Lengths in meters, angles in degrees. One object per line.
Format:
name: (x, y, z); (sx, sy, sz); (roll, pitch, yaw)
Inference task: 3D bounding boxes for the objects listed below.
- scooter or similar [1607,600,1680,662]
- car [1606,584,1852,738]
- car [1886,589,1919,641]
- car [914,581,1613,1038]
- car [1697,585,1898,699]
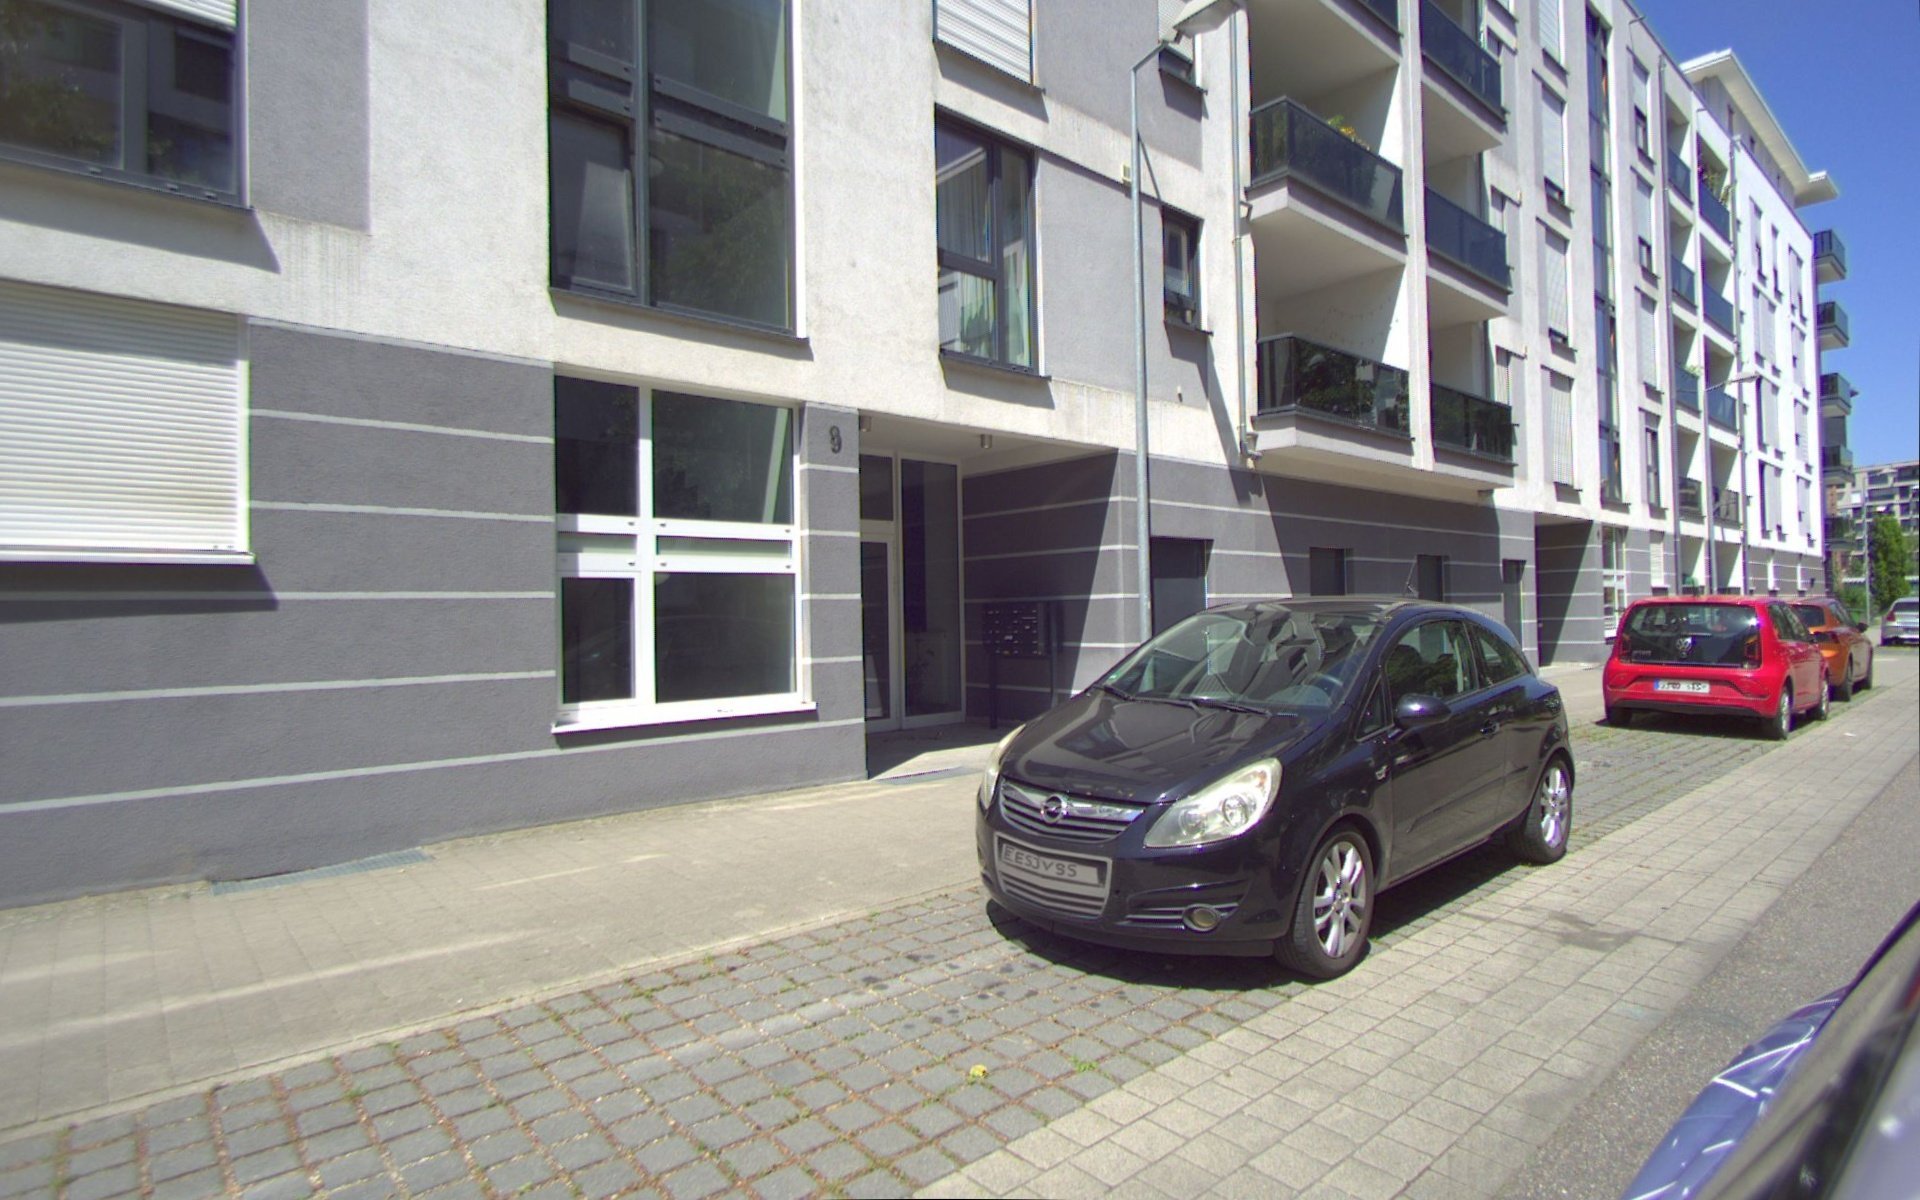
scooter or similar: (14.261, 0.643, 21.126); (1.498, 1.241, 0.548); (-1, -2, -27)
car: (8.962, 0.573, 11.694); (3.612, 1.504, 1.598); (0, 1, -41)
car: (28.422, 0.391, 29.311); (4.348, 1.434, 1.848); (-1, -1, -41)
car: (1.833, 0.659, 5.261); (4.047, 1.481, 1.645); (-1, 0, -42)
car: (12.881, 0.536, 15.480); (4.185, 1.505, 1.740); (-1, 0, -41)
